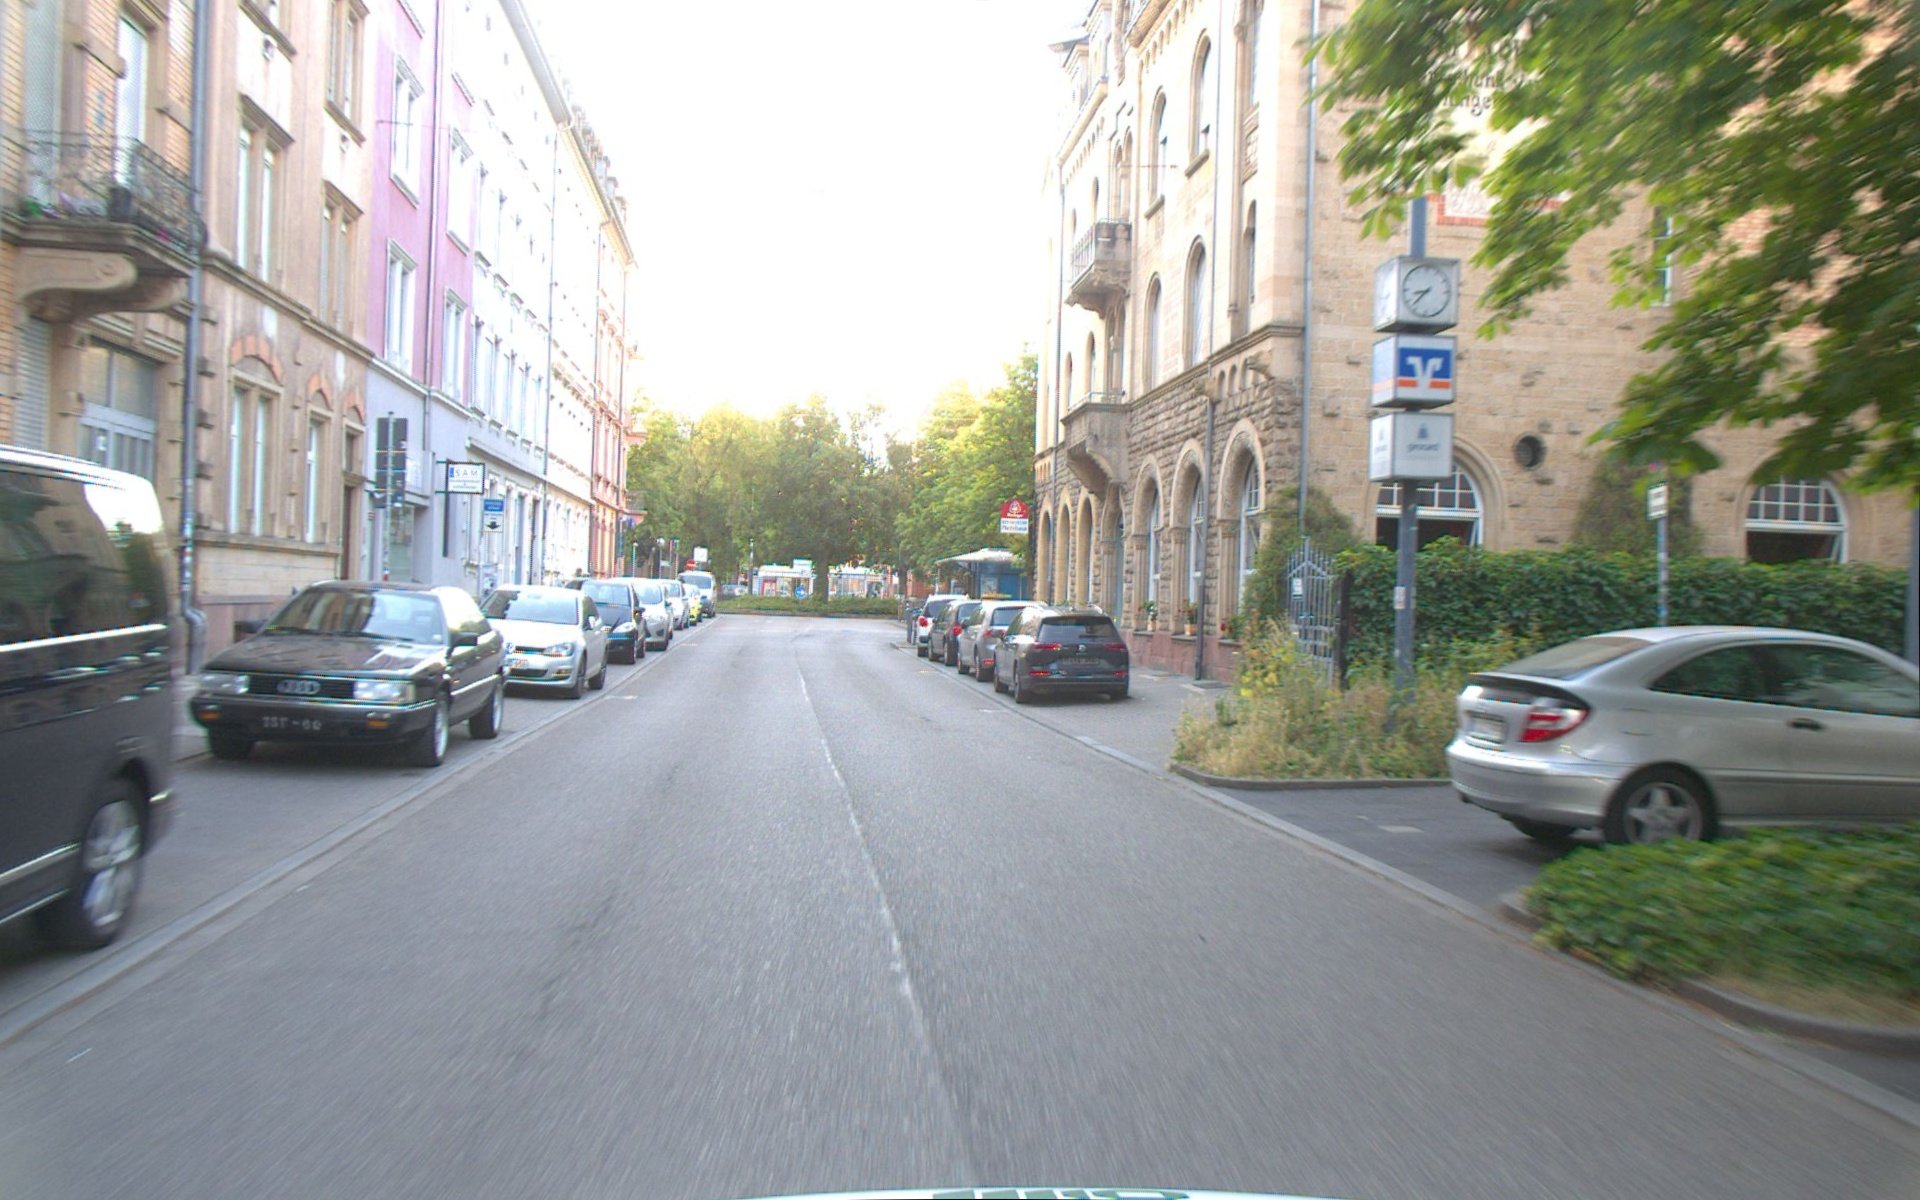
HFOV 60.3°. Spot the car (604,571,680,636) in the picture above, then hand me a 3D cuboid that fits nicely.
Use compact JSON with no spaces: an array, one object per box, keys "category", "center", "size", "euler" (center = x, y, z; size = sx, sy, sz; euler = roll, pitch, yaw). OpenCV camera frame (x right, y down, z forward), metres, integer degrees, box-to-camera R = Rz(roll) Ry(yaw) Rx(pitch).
[{"category":"car","center":[-8.539,0.090,44.613],"size":[1.666,1.579,3.564],"euler":[3,0,-7]}]

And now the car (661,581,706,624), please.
[{"category":"car","center":[-11.203,0.094,67.211],"size":[1.667,1.579,4.014],"euler":[3,0,-9]}]

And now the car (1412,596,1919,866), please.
[{"category":"car","center":[5.186,0.751,10.638],"size":[4.006,1.478,1.881],"euler":[-1,1,-5]}]

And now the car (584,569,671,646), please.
[{"category":"car","center":[-7.813,0.163,39.142],"size":[1.811,1.688,4.243],"euler":[1,0,-9]}]

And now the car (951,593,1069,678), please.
[{"category":"car","center":[0.899,0.640,32.363],"size":[1.644,1.481,4.223],"euler":[-1,1,-7]}]

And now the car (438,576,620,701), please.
[{"category":"car","center":[-6.024,0.490,23.564],"size":[1.799,1.483,4.201],"euler":[5,0,-6]}]

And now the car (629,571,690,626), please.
[{"category":"car","center":[-9.971,-0.052,55.095],"size":[1.666,1.649,4.016],"euler":[3,0,-7]}]

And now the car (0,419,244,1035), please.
[{"category":"car","center":[-3.980,0.358,5.094],"size":[1.956,1.957,4.941],"euler":[4,0,-9]}]

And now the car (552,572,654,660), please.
[{"category":"car","center":[-7.075,0.286,33.048],"size":[1.605,1.592,3.775],"euler":[3,0,-7]}]

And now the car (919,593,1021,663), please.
[{"category":"car","center":[0.173,0.596,37.896],"size":[1.646,1.481,3.791],"euler":[-1,1,-10]}]

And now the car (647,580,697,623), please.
[{"category":"car","center":[-10.631,0.046,61.308],"size":[1.667,1.451,4.014],"euler":[3,0,-9]}]

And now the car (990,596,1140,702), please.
[{"category":"car","center":[1.582,0.711,26.388],"size":[1.644,1.454,4.473],"euler":[-2,1,-6]}]

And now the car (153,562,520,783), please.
[{"category":"car","center":[-4.946,0.519,13.850],"size":[1.704,1.443,4.771],"euler":[3,-1,-7]}]

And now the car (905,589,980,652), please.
[{"category":"car","center":[-0.500,0.495,42.872],"size":[1.643,1.527,3.897],"euler":[-1,1,-5]}]

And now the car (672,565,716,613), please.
[{"category":"car","center":[-12.121,-0.506,75.298],"size":[1.778,2.011,4.176],"euler":[3,0,-11]}]

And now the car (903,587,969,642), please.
[{"category":"car","center":[-0.749,0.395,48.740],"size":[1.643,1.527,4.014],"euler":[-1,1,-5]}]
